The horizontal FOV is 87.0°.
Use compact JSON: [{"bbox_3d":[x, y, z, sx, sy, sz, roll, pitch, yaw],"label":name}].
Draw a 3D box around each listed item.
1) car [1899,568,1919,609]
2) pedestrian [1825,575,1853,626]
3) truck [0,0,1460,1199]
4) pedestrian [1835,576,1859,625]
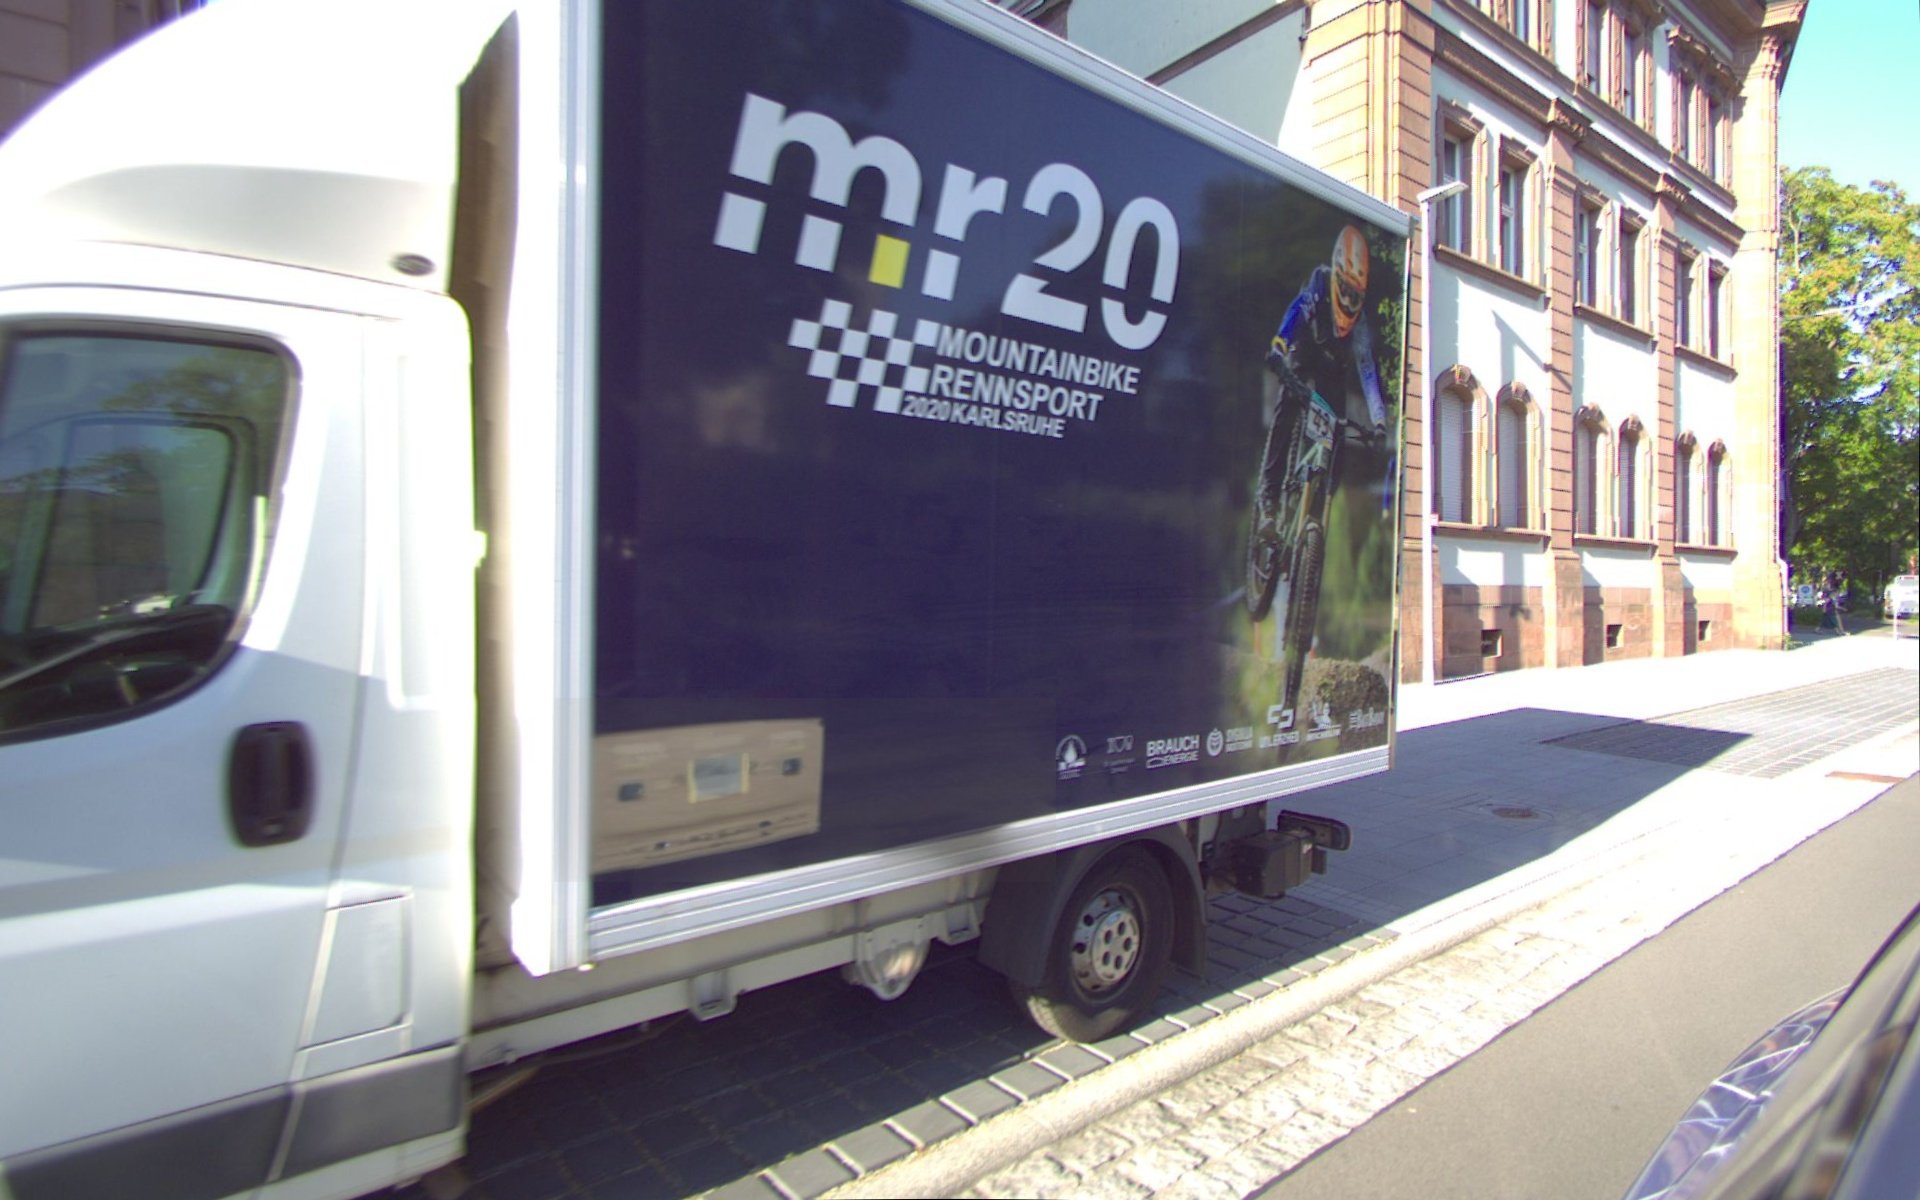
[{"bbox_3d":[67.479,-0.787,68.175,5.867,2.735,2.194,0,0,33],"label":"car"},{"bbox_3d":[33.049,0.027,38.075,0.712,1.864,0.779,0,-2,36],"label":"pedestrian"},{"bbox_3d":[-1.040,-0.162,3.305,5.981,3.159,2.629,0,2,-41],"label":"truck"},{"bbox_3d":[33.650,0.023,38.409,0.609,1.864,0.716,0,-2,36],"label":"pedestrian"}]
